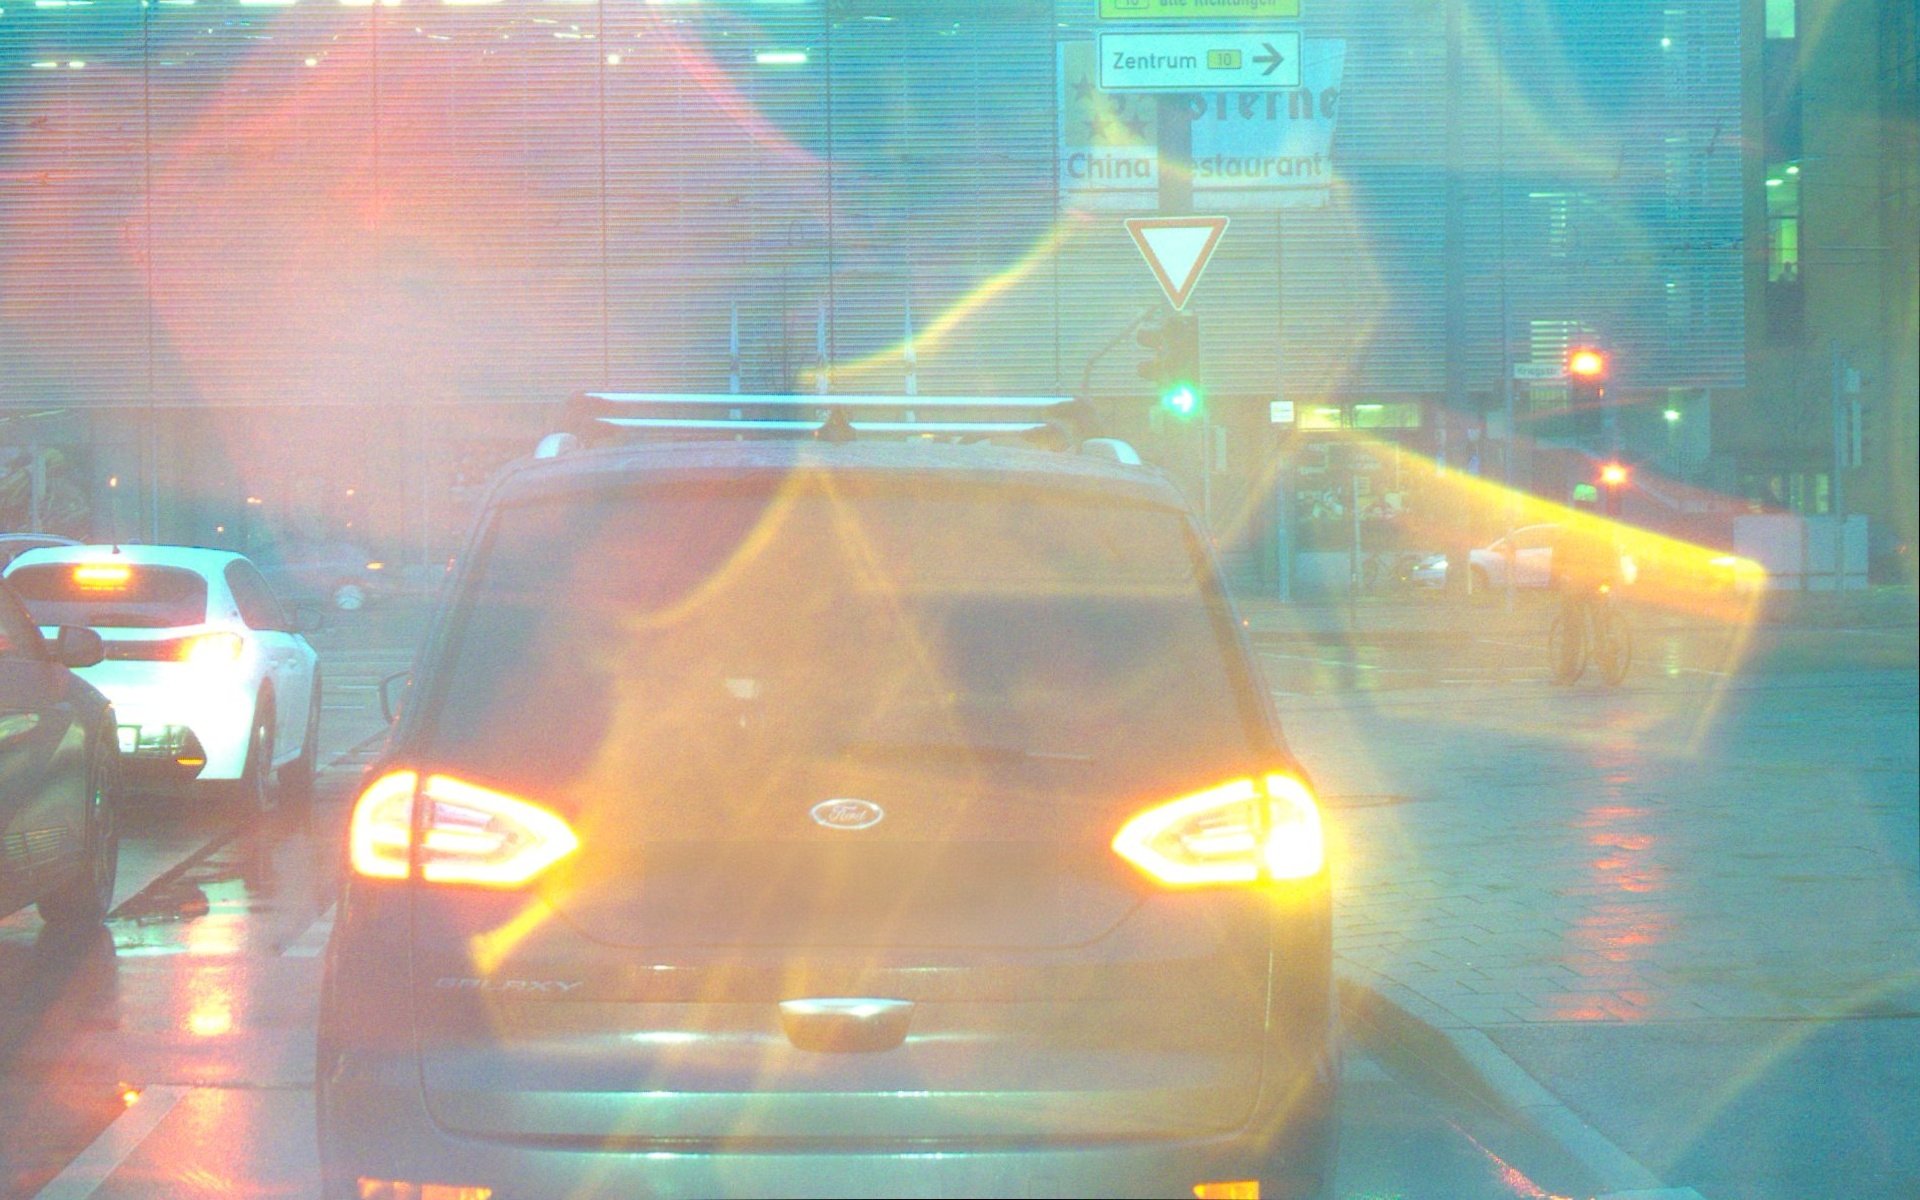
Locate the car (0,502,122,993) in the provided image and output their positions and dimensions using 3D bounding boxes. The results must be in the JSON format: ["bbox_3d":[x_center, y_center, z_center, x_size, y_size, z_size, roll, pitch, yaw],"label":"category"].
[{"bbox_3d":[-4.063,0.465,11.655,1.820,1.564,4.363,-1,1,-7],"label":"car"}]

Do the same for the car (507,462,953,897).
[{"bbox_3d":[-1.144,0.277,16.624,1.843,1.800,4.488,-1,1,-5],"label":"car"}]

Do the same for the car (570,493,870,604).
[{"bbox_3d":[-4.250,-0.932,61.001,4.946,1.865,1.905,-1,1,-26],"label":"car"}]

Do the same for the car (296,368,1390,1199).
[{"bbox_3d":[-0.222,0.506,7.356,1.674,1.773,4.000,1,1,-1],"label":"car"}]

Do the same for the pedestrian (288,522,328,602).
[{"bbox_3d":[-14.633,-0.849,77.127,0.787,1.781,0.733,-1,1,-5],"label":"pedestrian"}]

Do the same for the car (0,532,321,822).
[{"bbox_3d":[-4.634,0.348,19.276,1.758,1.458,3.918,0,1,-6],"label":"car"}]

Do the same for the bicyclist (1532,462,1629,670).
[{"bbox_3d":[5.724,-0.317,31.753,0.791,1.884,0.989,-1,1,5],"label":"bicyclist"}]

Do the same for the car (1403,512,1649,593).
[{"bbox_3d":[10.900,-0.926,66.307,4.326,1.481,1.867,-1,1,-6],"label":"car"}]

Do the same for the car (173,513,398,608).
[{"bbox_3d":[-13.760,-0.828,70.336,4.358,1.865,1.905,-1,1,-6],"label":"car"}]

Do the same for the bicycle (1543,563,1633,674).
[{"bbox_3d":[5.802,0.161,31.821,0.655,0.970,1.866,-1,1,5],"label":"bicycle"}]
